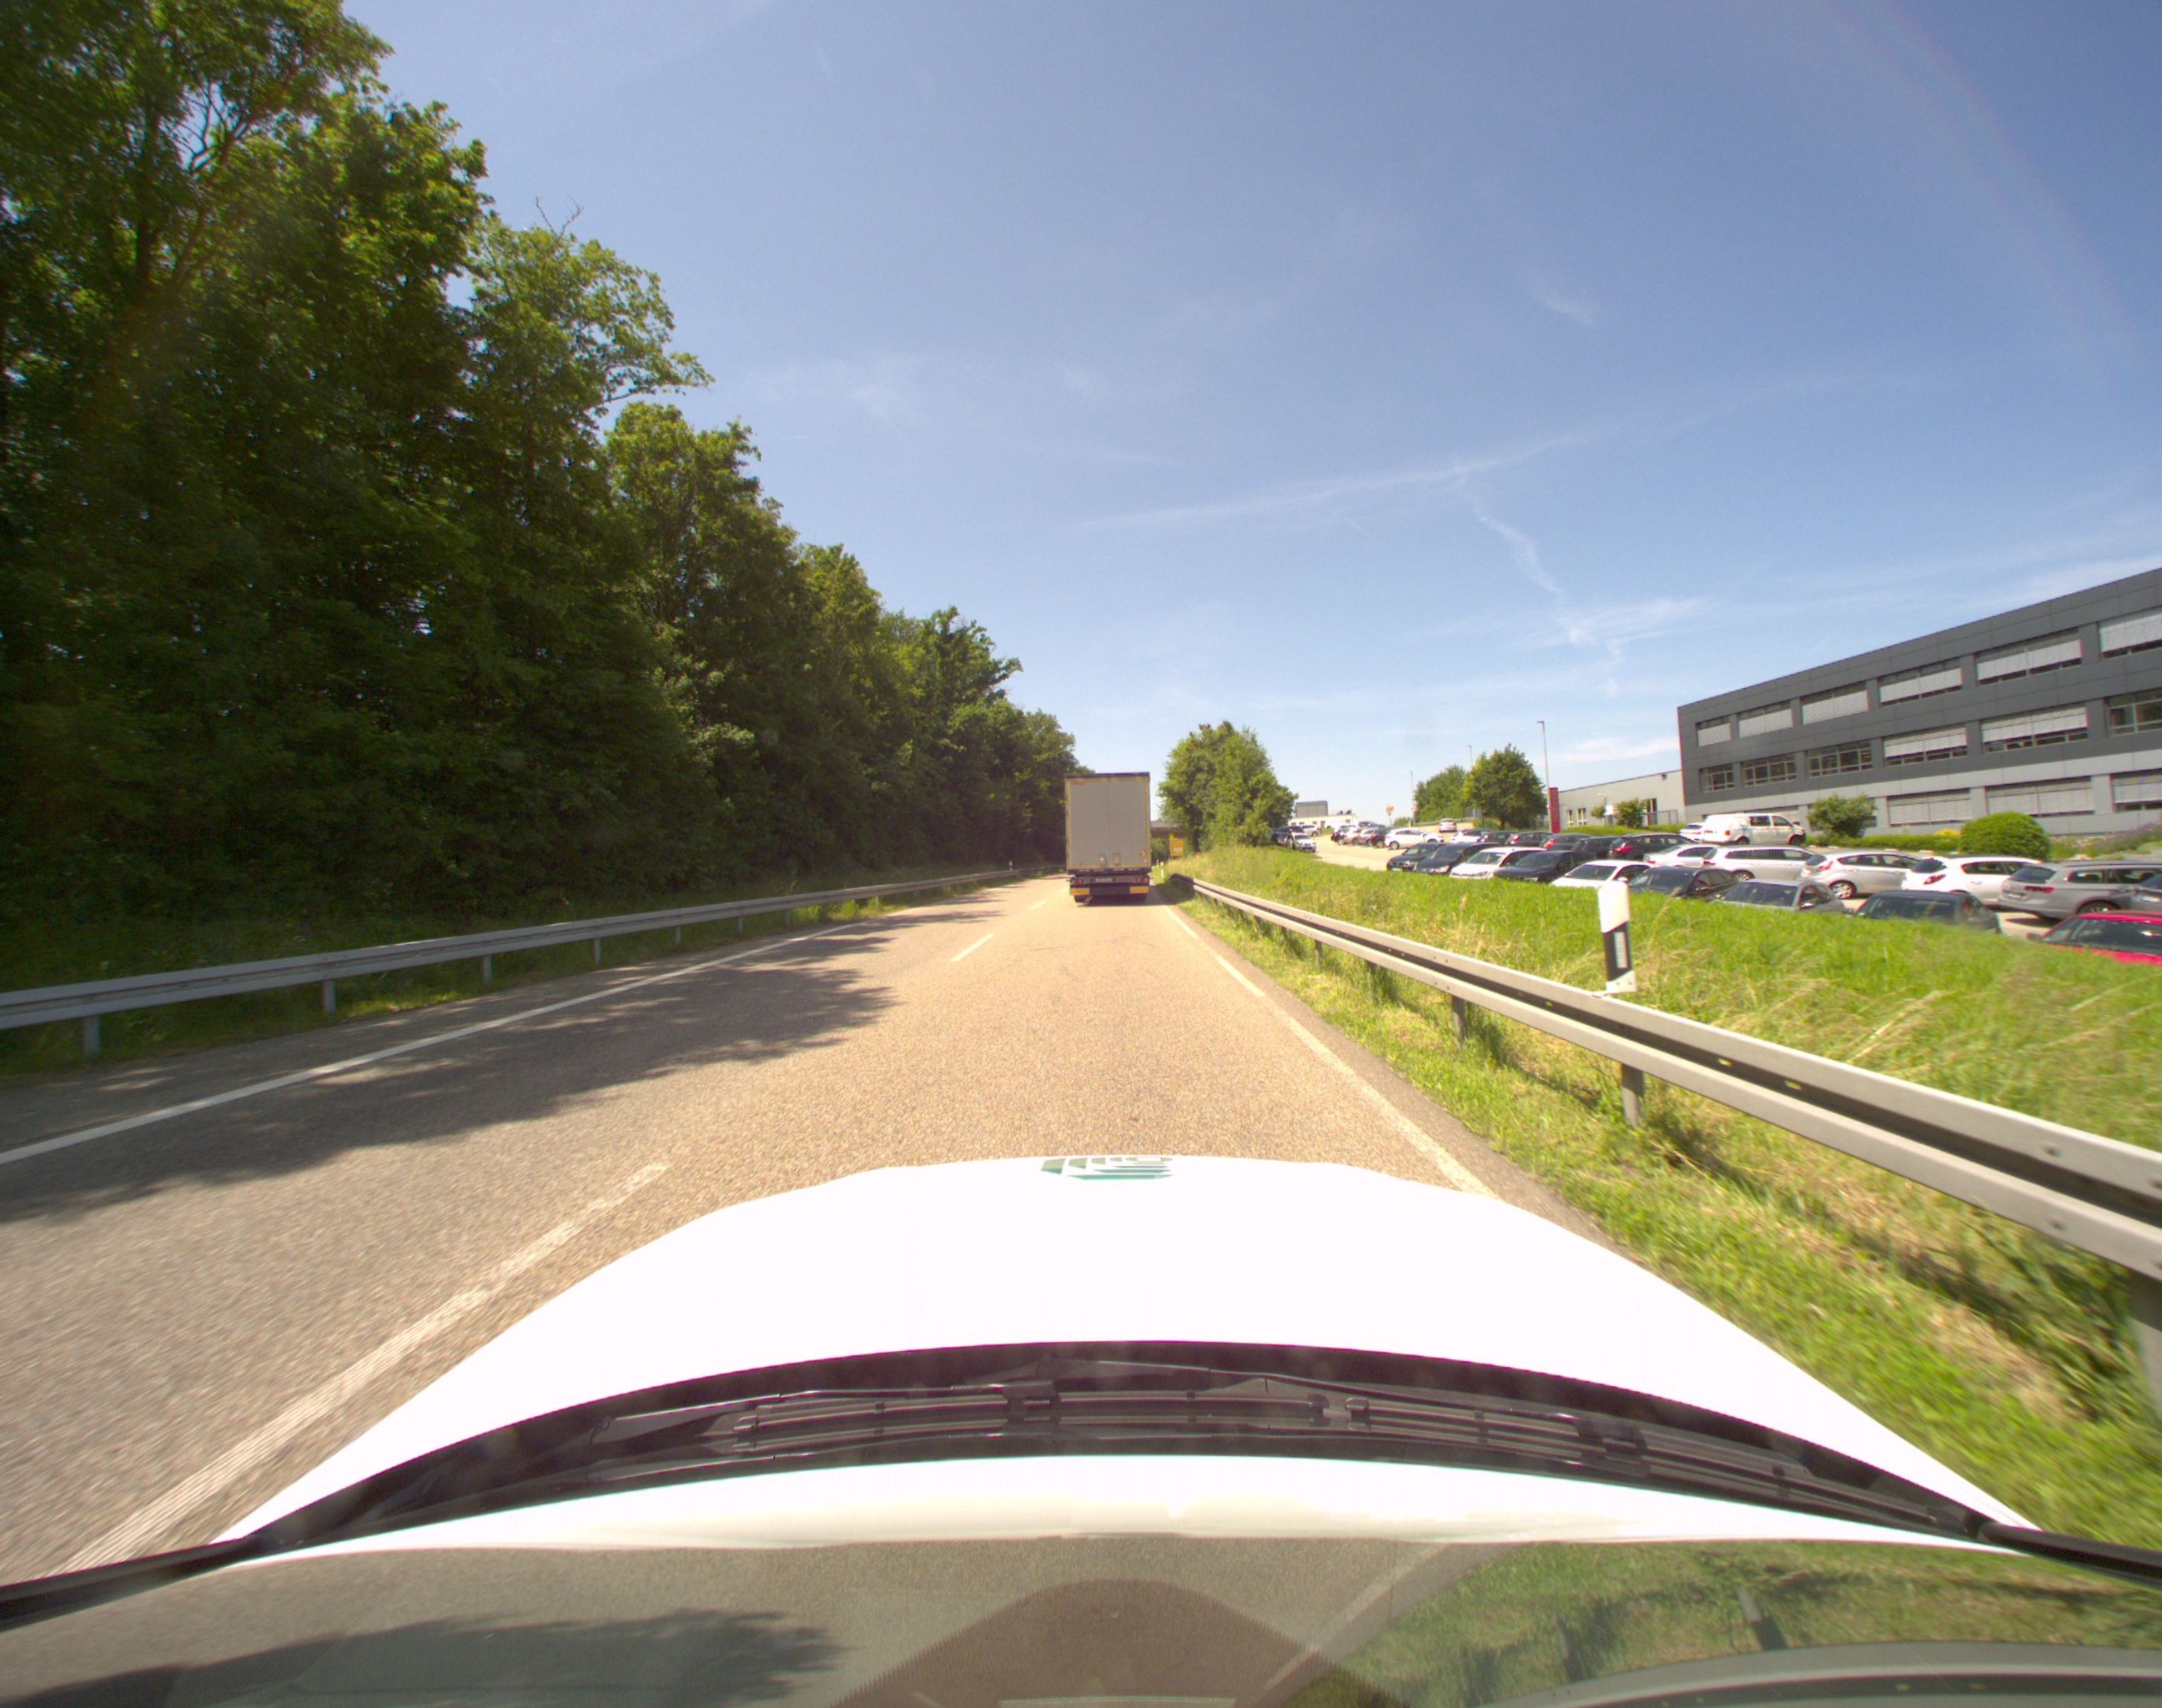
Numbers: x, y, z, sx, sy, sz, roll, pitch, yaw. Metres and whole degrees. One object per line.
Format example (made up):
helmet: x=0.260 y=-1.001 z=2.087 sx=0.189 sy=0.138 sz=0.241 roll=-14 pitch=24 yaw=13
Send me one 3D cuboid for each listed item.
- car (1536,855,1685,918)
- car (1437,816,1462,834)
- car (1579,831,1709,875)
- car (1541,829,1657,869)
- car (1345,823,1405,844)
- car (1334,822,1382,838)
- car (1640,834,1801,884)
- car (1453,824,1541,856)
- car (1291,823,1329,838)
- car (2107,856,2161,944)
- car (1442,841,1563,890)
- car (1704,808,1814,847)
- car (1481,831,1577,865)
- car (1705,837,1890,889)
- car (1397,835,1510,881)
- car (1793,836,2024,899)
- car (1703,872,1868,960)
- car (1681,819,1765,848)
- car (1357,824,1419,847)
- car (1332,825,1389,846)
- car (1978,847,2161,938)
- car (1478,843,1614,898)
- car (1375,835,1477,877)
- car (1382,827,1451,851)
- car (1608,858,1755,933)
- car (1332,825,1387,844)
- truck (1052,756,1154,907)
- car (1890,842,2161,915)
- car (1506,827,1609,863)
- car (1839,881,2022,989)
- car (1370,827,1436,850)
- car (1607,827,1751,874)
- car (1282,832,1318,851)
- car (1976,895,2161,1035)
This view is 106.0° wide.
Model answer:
car: x=16.295 y=0.978 z=25.025 sx=4.387 sy=1.685 sz=1.872 roll=2 pitch=2 yaw=-28
car: x=37.849 y=-2.960 z=83.526 sx=1.789 sy=1.662 sz=4.025 roll=0 pitch=0 yaw=32
car: x=25.060 y=-0.079 z=36.465 sx=4.530 sy=1.628 sz=1.831 roll=4 pitch=2 yaw=27
car: x=25.059 y=-0.283 z=39.592 sx=4.530 sy=1.628 sz=1.831 roll=4 pitch=2 yaw=27
car: x=24.306 y=-1.704 z=67.334 sx=4.532 sy=1.628 sz=1.830 roll=1 pitch=2 yaw=21
car: x=29.843 y=-2.591 z=87.722 sx=4.527 sy=1.629 sz=1.832 roll=0 pitch=0 yaw=35
car: x=24.458 y=0.148 z=31.383 sx=4.530 sy=1.628 sz=1.831 roll=4 pitch=2 yaw=27
car: x=24.936 y=-0.865 z=48.900 sx=4.530 sy=1.628 sz=1.831 roll=4 pitch=2 yaw=27
car: x=28.201 y=-2.877 z=100.398 sx=4.388 sy=1.685 sz=1.872 roll=-3 pitch=4 yaw=-28
car: x=24.087 y=0.905 z=16.004 sx=4.529 sy=1.628 sz=1.832 roll=-1 pitch=3 yaw=26
car: x=16.103 y=0.446 z=31.119 sx=4.387 sy=1.685 sz=1.872 roll=2 pitch=2 yaw=-28
car: x=37.529 y=-1.453 z=45.137 sx=4.555 sy=1.949 sz=1.821 roll=-2 pitch=2 yaw=1
car: x=24.980 y=-0.366 z=45.561 sx=4.530 sy=1.628 sz=1.831 roll=4 pitch=2 yaw=27
car: x=24.420 y=0.293 z=28.023 sx=4.527 sy=1.519 sz=1.833 roll=-1 pitch=5 yaw=31
car: x=15.284 y=0.187 z=33.391 sx=4.387 sy=1.685 sz=1.872 roll=2 pitch=2 yaw=-28
car: x=24.890 y=0.414 z=24.747 sx=4.529 sy=1.477 sz=1.832 roll=-4 pitch=3 yaw=26
car: x=16.327 y=1.329 z=18.812 sx=4.396 sy=1.685 sz=1.868 roll=1 pitch=3 yaw=-36
car: x=37.961 y=-1.228 z=48.200 sx=3.648 sy=1.588 sz=1.685 roll=-2 pitch=2 yaw=1
car: x=24.223 y=-1.459 z=64.305 sx=4.532 sy=1.628 sz=1.830 roll=-1 pitch=1 yaw=21
car: x=24.228 y=-1.595 z=70.608 sx=4.532 sy=1.629 sz=1.830 roll=-1 pitch=-1 yaw=21
car: x=24.500 y=0.915 z=18.864 sx=4.530 sy=1.627 sz=1.833 roll=4 pitch=11 yaw=26
car: x=15.774 y=0.563 z=27.610 sx=4.387 sy=1.685 sz=1.872 roll=2 pitch=2 yaw=-28
car: x=15.691 y=0.104 z=37.002 sx=4.387 sy=1.685 sz=1.872 roll=2 pitch=2 yaw=-28
car: x=24.059 y=-1.084 z=58.533 sx=4.532 sy=1.628 sz=1.830 roll=1 pitch=1 yaw=21
car: x=16.099 y=1.043 z=21.770 sx=4.396 sy=1.685 sz=1.868 roll=1 pitch=3 yaw=-36
car: x=25.183 y=-1.750 z=73.646 sx=4.532 sy=1.629 sz=1.830 roll=0 pitch=0 yaw=22
truck: x=0.809 y=-0.658 z=28.873 sx=2.855 sy=4.359 sz=9.793 roll=-2 pitch=0 yaw=2
car: x=24.953 y=0.583 z=21.623 sx=4.529 sy=1.628 sz=1.832 roll=0 pitch=6 yaw=26
car: x=25.014 y=-0.484 z=42.948 sx=4.530 sy=1.628 sz=1.831 roll=4 pitch=2 yaw=27
car: x=16.863 y=1.474 z=16.105 sx=4.396 sy=1.685 sz=1.868 roll=1 pitch=3 yaw=-36
car: x=24.152 y=-1.172 z=61.132 sx=4.532 sy=1.628 sz=1.830 roll=1 pitch=1 yaw=21
car: x=24.656 y=-0.174 z=33.814 sx=4.530 sy=1.628 sz=1.831 roll=4 pitch=2 yaw=27
car: x=16.885 y=-0.986 z=62.925 sx=1.620 sy=1.353 sz=3.708 roll=3 pitch=2 yaw=-3
car: x=16.196 y=1.589 z=12.444 sx=4.379 sy=1.685 sz=1.875 roll=2 pitch=2 yaw=-21
